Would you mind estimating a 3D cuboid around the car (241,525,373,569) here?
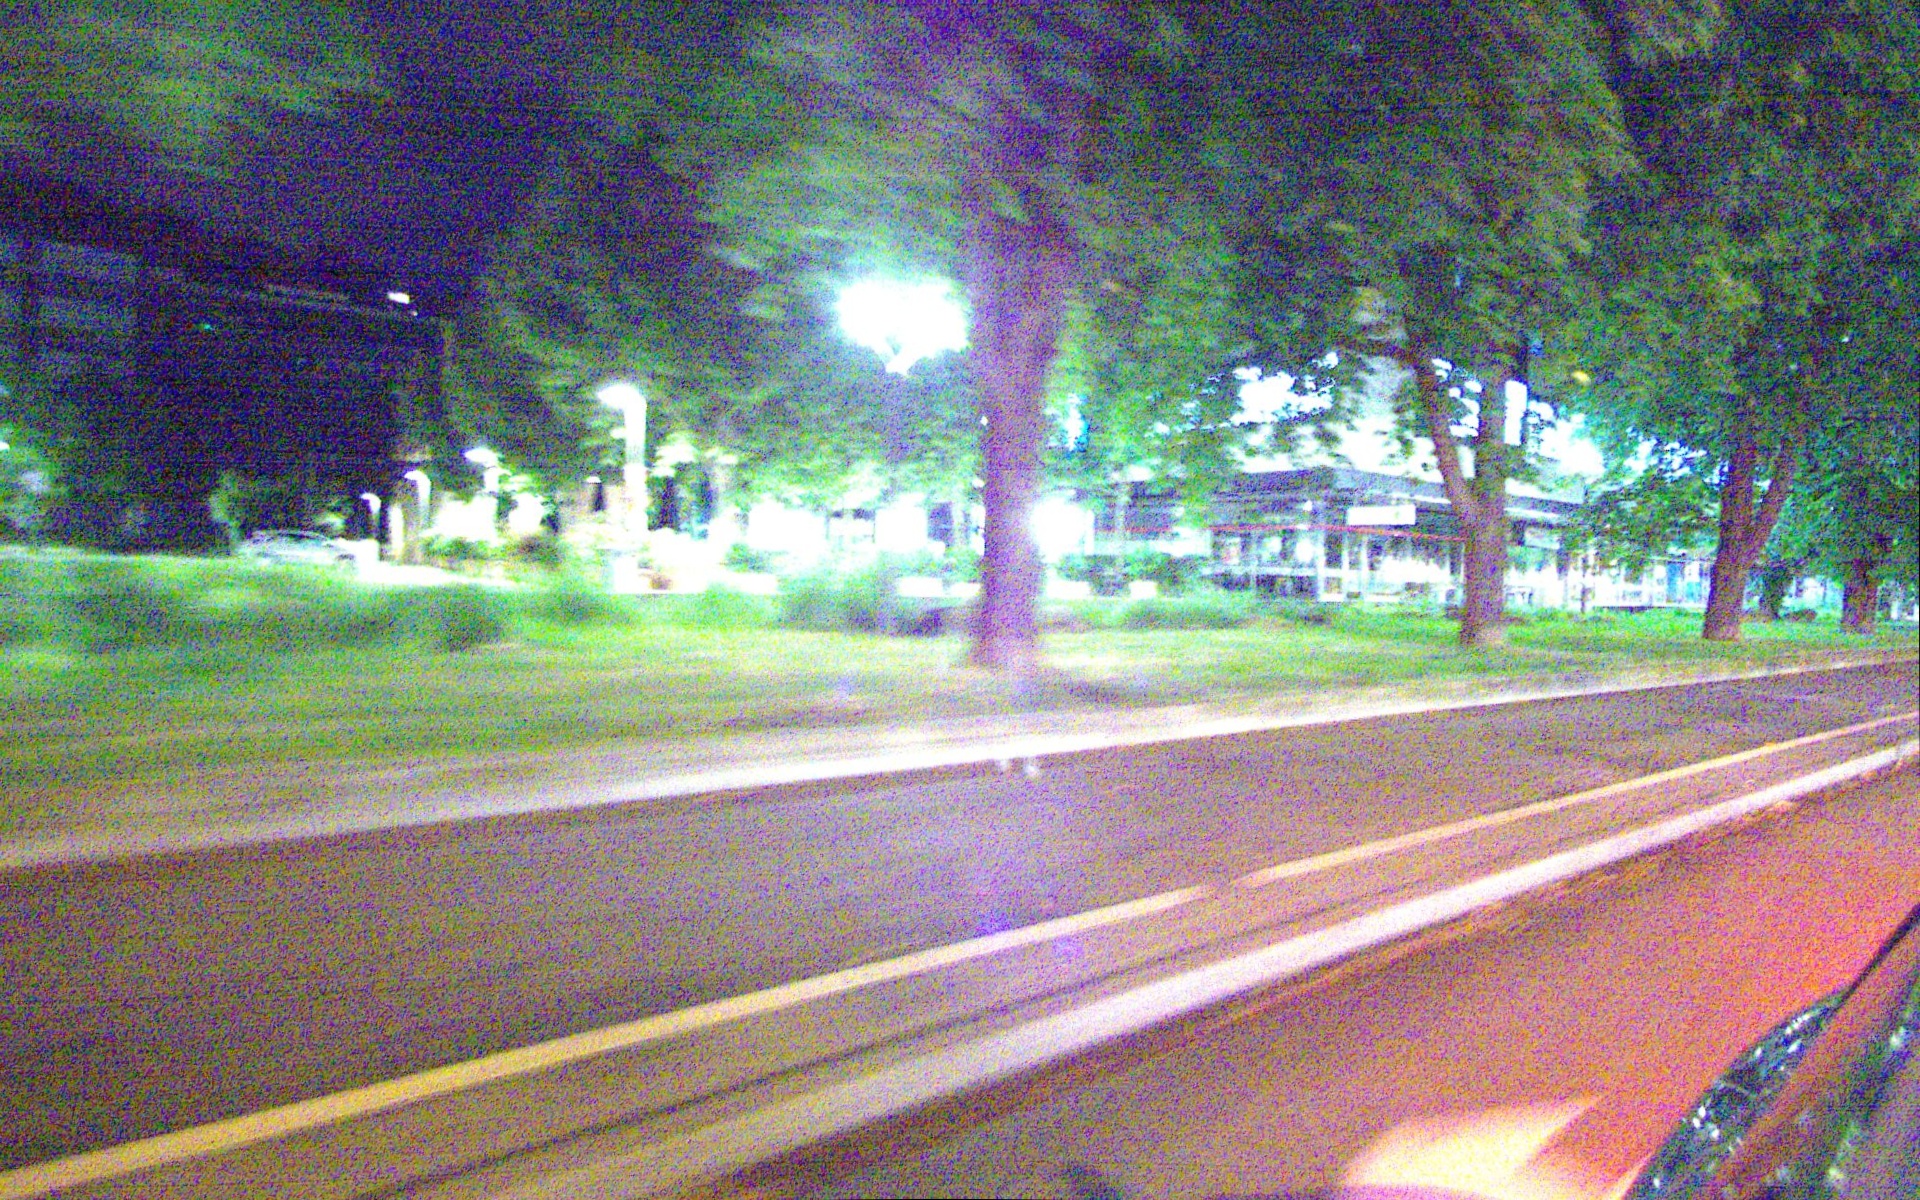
[{"bbox_3d":[-25.390,-2.061,39.404,4.220,1.526,2.001,1,3,-36],"label":"car"}]
